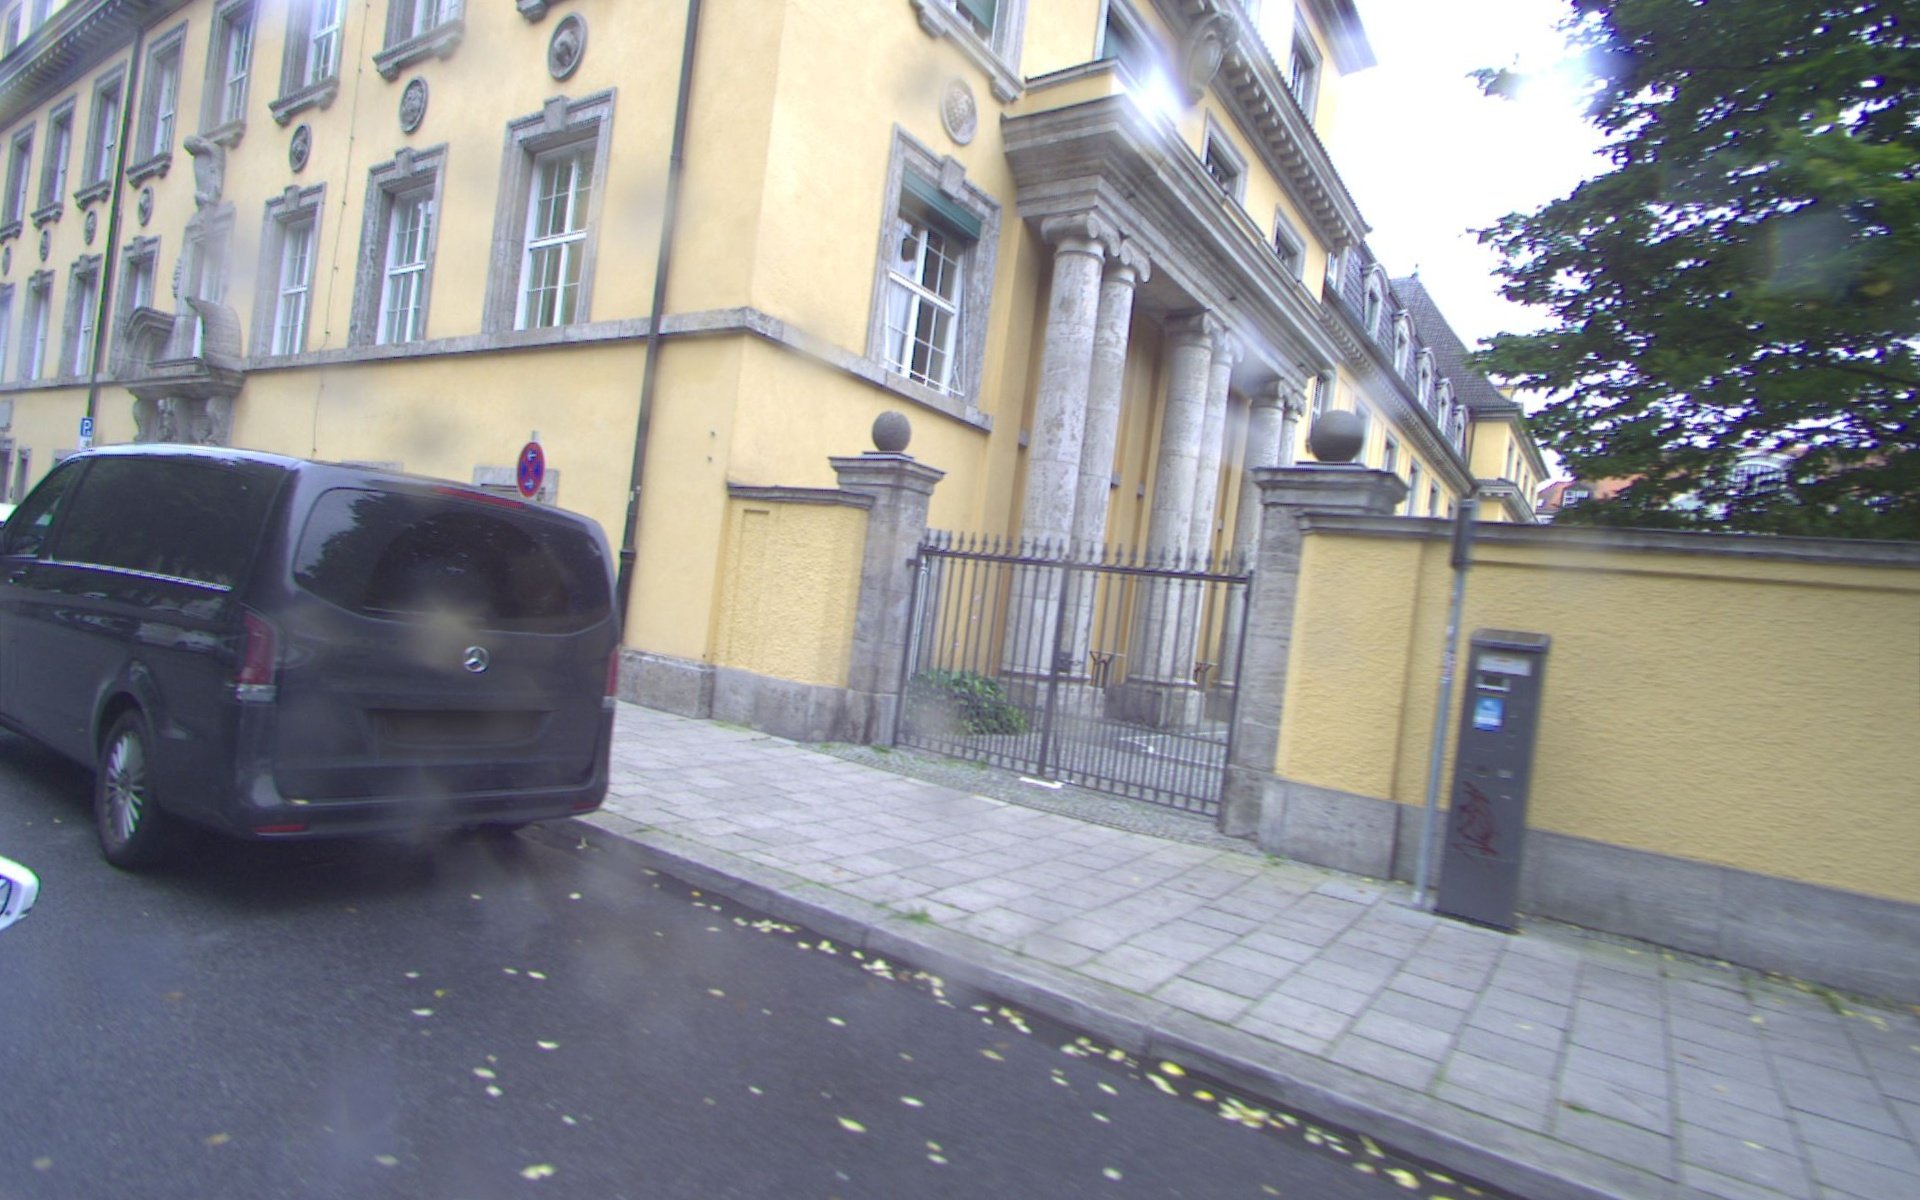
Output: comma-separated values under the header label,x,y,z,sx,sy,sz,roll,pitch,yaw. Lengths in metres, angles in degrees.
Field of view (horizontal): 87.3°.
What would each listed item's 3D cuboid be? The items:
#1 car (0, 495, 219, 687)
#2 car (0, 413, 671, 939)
label,x,y,z,sx,sy,sz,roll,pitch,yaw
car,-8.943,-0.216,9.359,4.186,1.475,1.873,6,-1,33
car,-4.127,0.134,5.729,4.906,1.891,1.873,6,-1,33
